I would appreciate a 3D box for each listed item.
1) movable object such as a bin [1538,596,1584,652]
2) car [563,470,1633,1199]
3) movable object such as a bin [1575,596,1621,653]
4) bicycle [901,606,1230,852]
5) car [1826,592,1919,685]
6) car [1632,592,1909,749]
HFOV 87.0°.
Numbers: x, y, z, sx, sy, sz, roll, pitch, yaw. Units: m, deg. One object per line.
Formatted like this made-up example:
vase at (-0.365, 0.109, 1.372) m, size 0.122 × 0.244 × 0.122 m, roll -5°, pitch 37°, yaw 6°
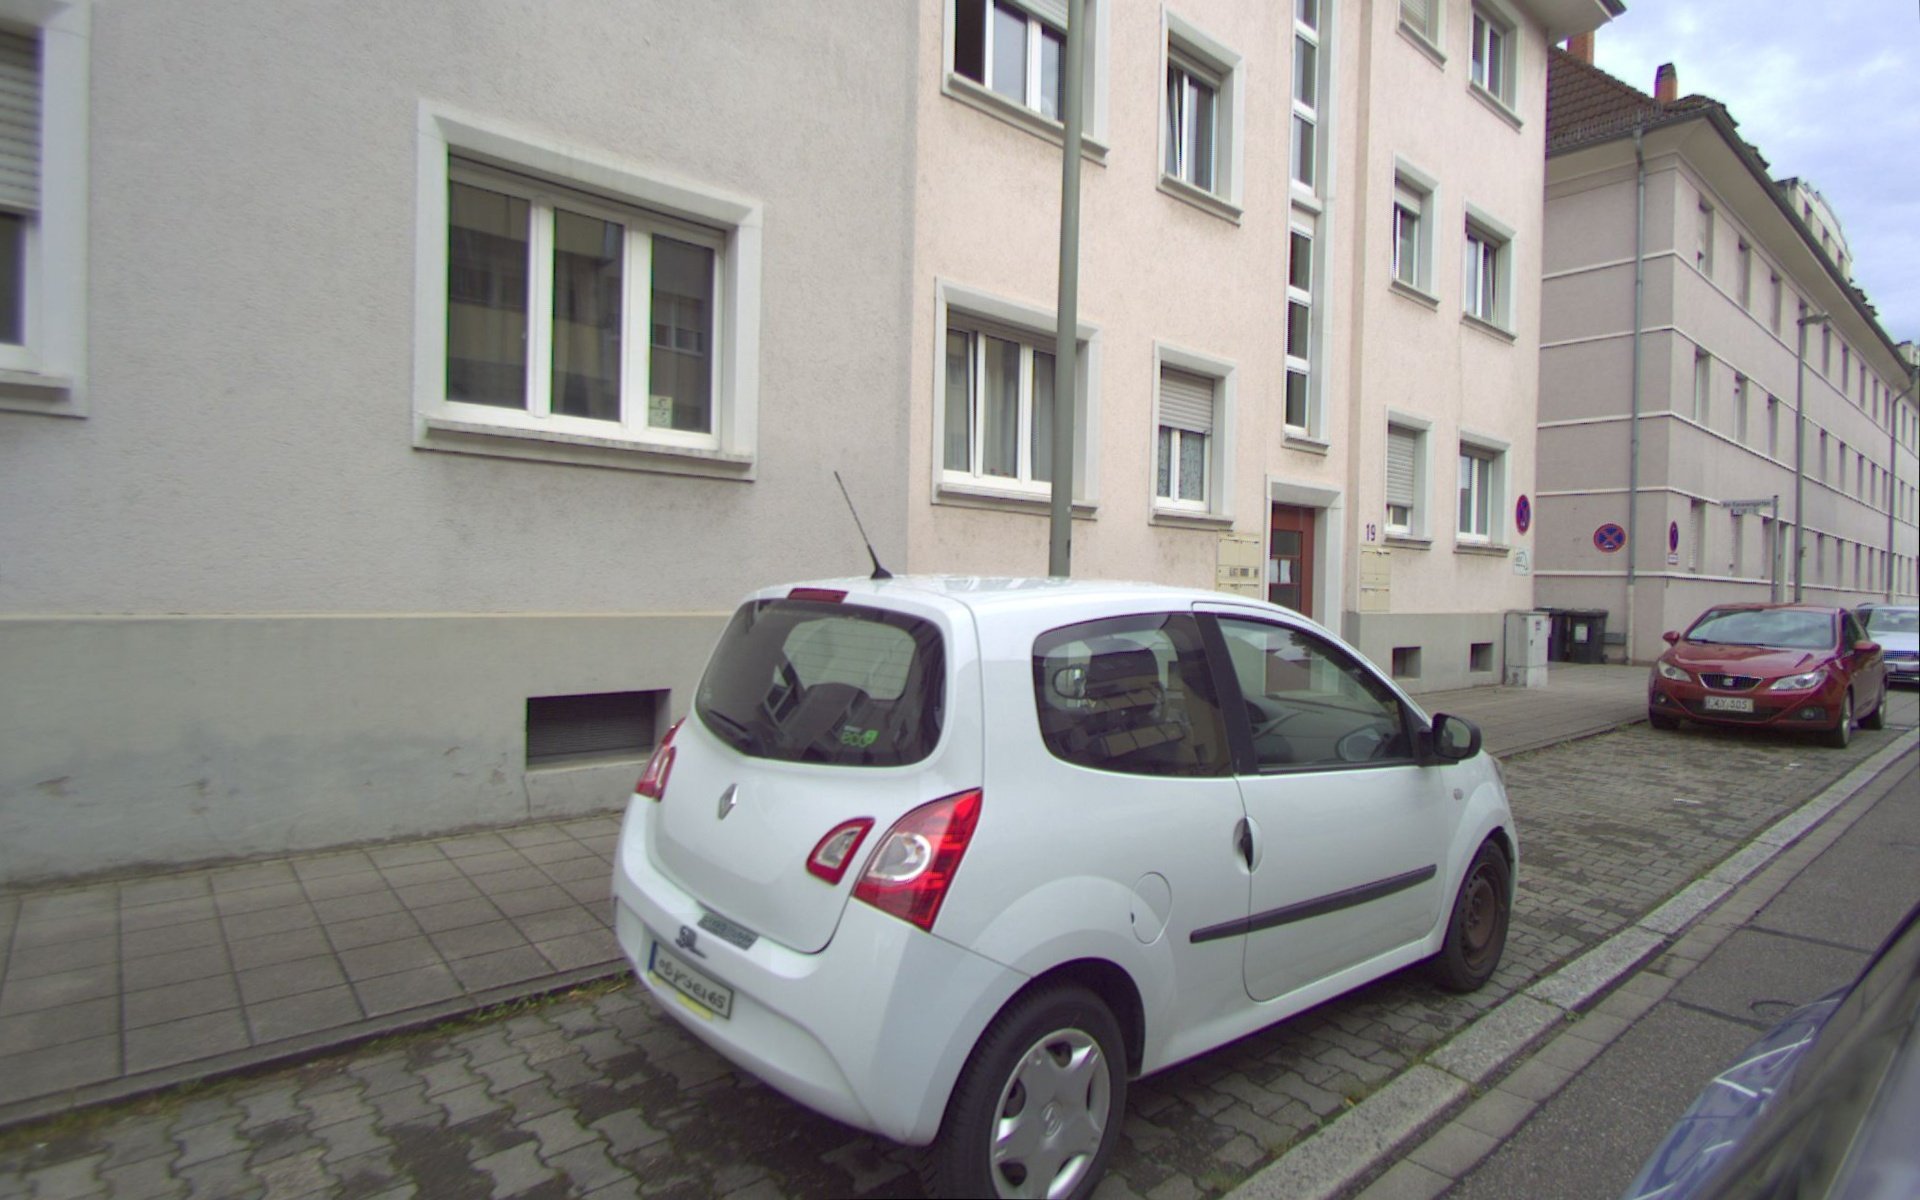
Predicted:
movable object such as a bin at (11.876, 0.465, 19.991) m, size 0.692 × 1.055 × 0.550 m, roll 0°, pitch 1°, yaw -38°
car at (0.768, 0.565, 3.661) m, size 3.737 × 1.619 × 1.787 m, roll 0°, pitch 1°, yaw -40°
movable object such as a bin at (12.379, 0.463, 19.645) m, size 0.692 × 1.055 × 0.550 m, roll 0°, pitch 1°, yaw -38°
bicycle at (0.676, 0.624, 5.783) m, size 2.088 × 1.154 × 0.606 m, roll 0°, pitch 1°, yaw -42°
car at (16.798, 0.629, 17.812) m, size 3.969 × 1.482 × 1.791 m, roll 0°, pitch 1°, yaw -41°
car at (9.175, 0.650, 11.352) m, size 3.867 × 1.427 × 1.757 m, roll 0°, pitch 1°, yaw -41°
